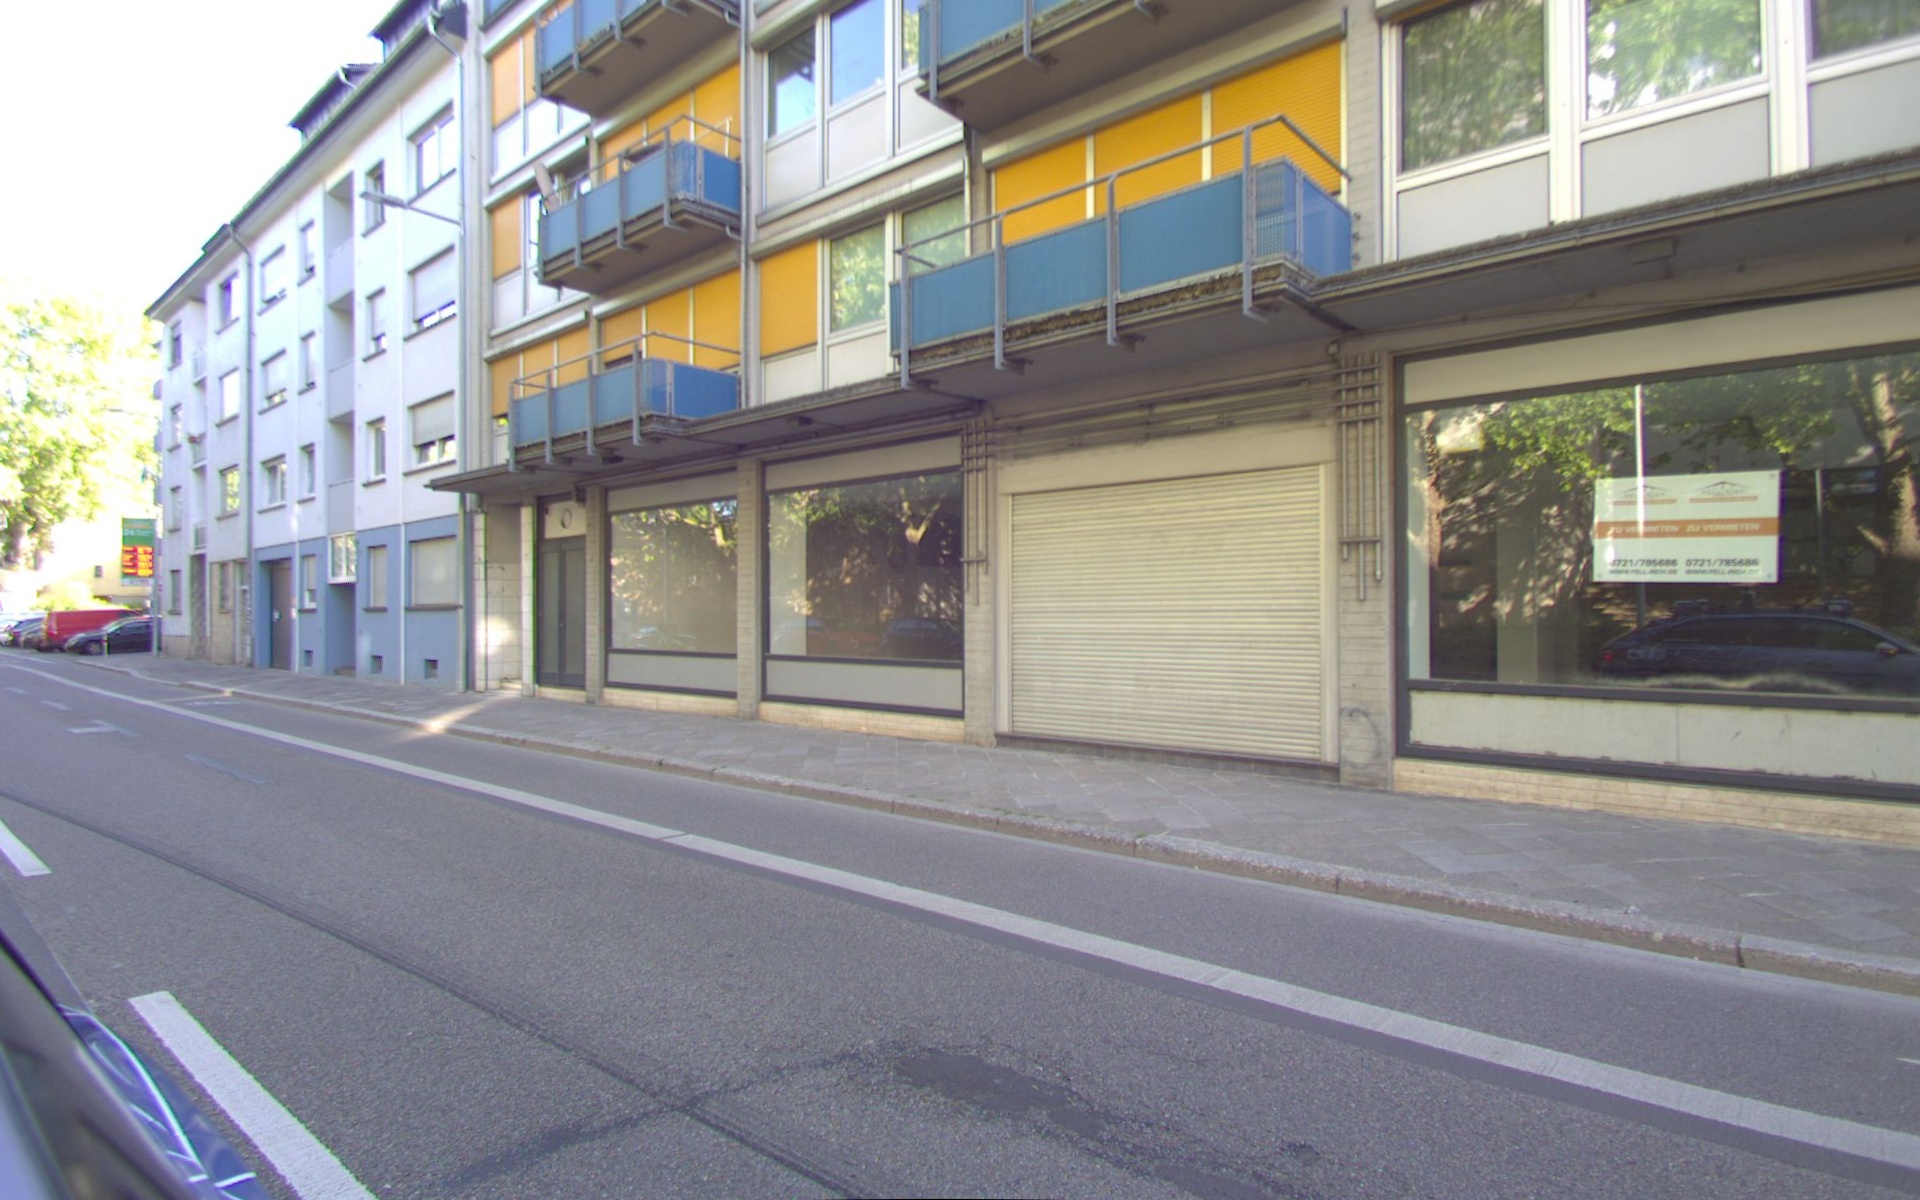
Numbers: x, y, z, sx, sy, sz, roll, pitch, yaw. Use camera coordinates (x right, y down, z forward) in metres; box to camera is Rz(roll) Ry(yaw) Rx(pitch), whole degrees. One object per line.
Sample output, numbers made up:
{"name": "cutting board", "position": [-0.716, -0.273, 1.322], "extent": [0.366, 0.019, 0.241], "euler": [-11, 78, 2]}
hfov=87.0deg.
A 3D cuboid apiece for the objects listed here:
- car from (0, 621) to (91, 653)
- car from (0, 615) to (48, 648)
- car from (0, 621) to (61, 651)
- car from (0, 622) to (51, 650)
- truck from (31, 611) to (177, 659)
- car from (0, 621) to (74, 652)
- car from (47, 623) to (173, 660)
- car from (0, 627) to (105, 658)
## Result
{"name": "car", "position": [-50.823, 2.014, 55.964], "extent": [1.699, 1.640, 3.952], "euler": [-1, 0, 35]}
{"name": "car", "position": [-59.760, 1.979, 63.831], "extent": [1.693, 1.953, 3.224], "euler": [-1, 0, 43]}
{"name": "car", "position": [-55.068, 2.091, 58.997], "extent": [1.715, 1.594, 3.660], "euler": [-1, 0, 35]}
{"name": "car", "position": [-56.888, 2.132, 60.390], "extent": [1.740, 1.600, 3.685], "euler": [-1, 0, 35]}
{"name": "truck", "position": [-40.351, 1.592, 47.833], "extent": [1.998, 2.036, 5.024], "euler": [-1, 0, 40]}
{"name": "car", "position": [-52.884, 2.047, 57.468], "extent": [1.656, 1.599, 3.615], "euler": [-1, 0, 35]}
{"name": "car", "position": [-36.863, 1.760, 43.971], "extent": [1.780, 1.404, 3.947], "euler": [-1, 0, 39]}
{"name": "car", "position": [-43.487, 2.008, 48.167], "extent": [1.904, 1.282, 3.983], "euler": [-1, 0, 39]}
